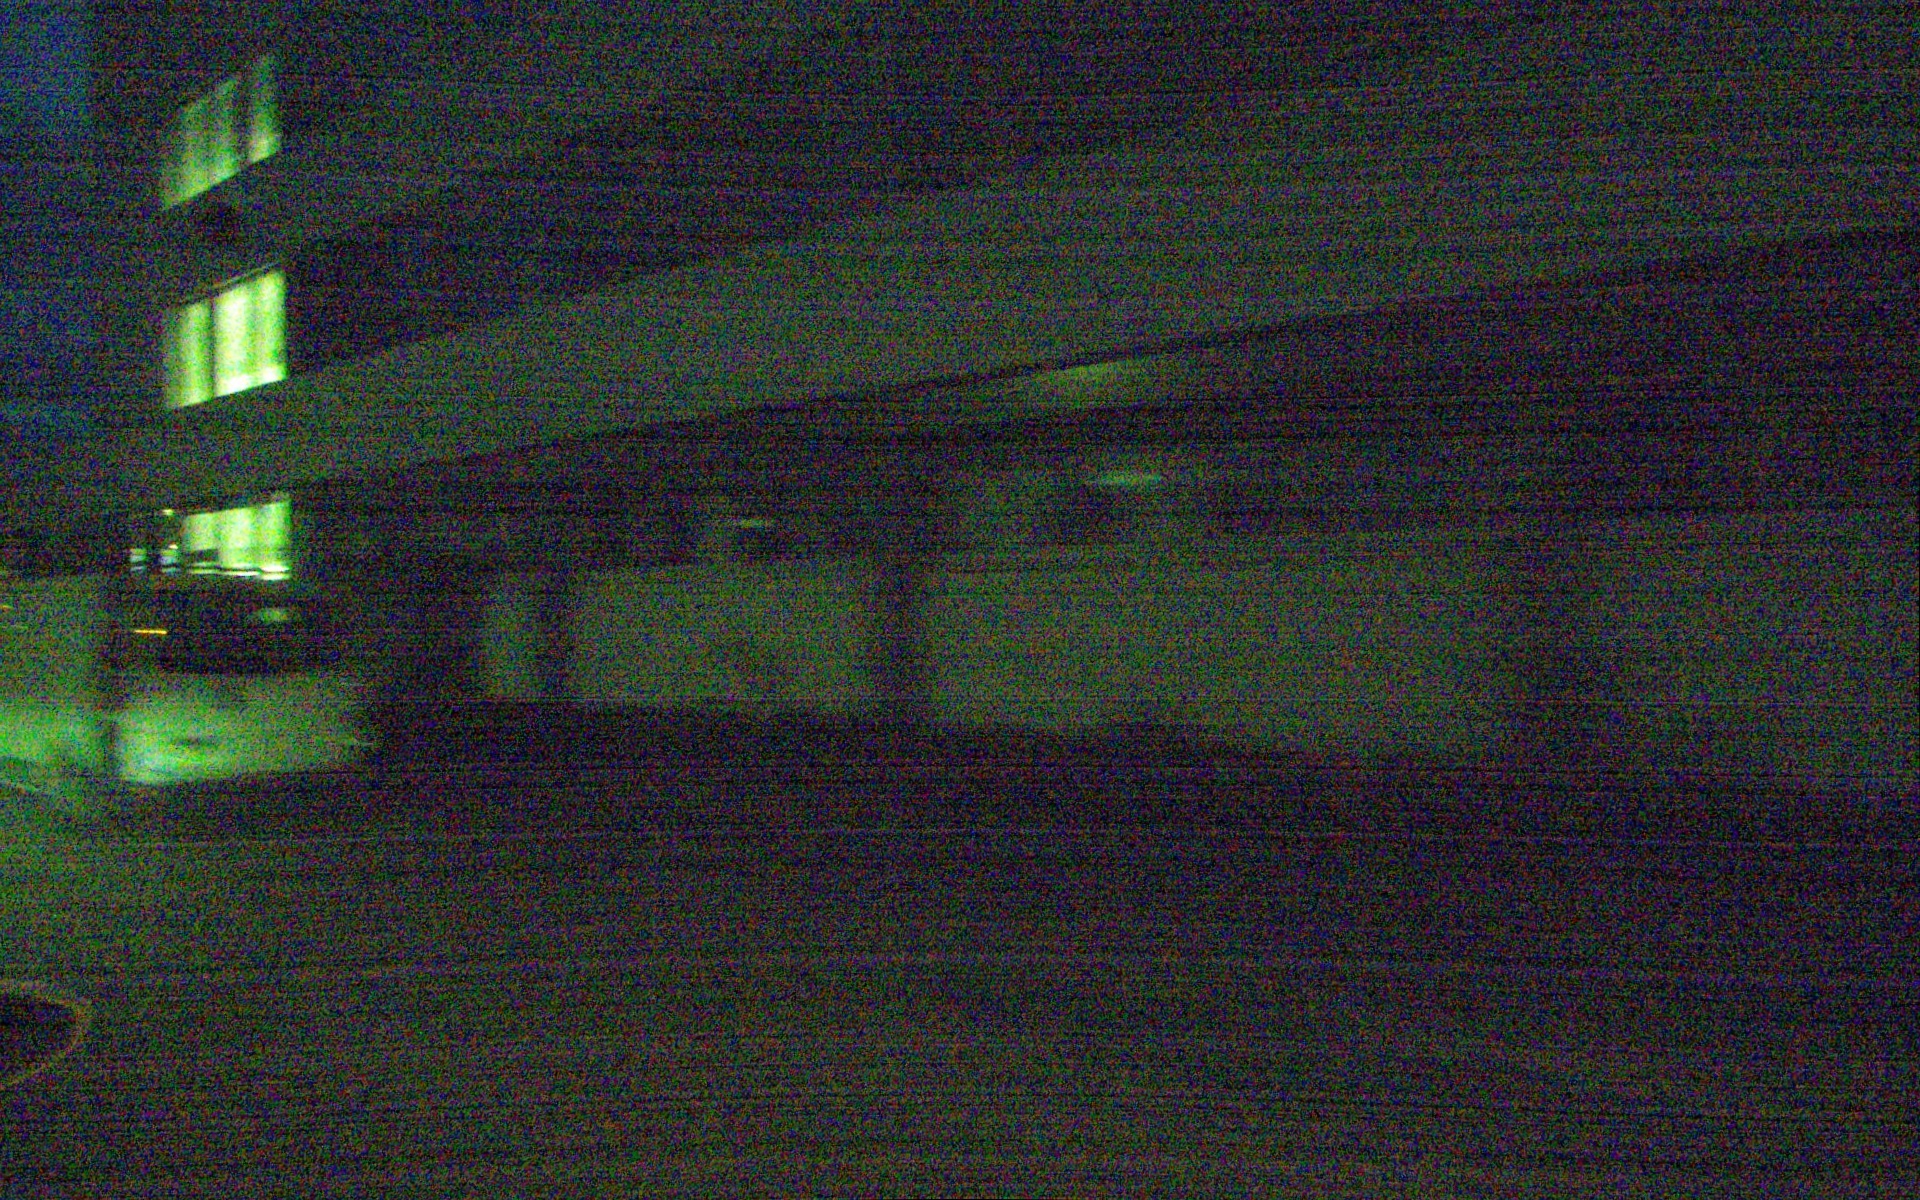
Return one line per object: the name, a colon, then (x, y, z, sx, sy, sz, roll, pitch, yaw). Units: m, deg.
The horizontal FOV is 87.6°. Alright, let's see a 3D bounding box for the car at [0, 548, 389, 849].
car: (-7.397, 0.693, 8.917, 4.842, 2.040, 1.989, -1, 0, 33)
